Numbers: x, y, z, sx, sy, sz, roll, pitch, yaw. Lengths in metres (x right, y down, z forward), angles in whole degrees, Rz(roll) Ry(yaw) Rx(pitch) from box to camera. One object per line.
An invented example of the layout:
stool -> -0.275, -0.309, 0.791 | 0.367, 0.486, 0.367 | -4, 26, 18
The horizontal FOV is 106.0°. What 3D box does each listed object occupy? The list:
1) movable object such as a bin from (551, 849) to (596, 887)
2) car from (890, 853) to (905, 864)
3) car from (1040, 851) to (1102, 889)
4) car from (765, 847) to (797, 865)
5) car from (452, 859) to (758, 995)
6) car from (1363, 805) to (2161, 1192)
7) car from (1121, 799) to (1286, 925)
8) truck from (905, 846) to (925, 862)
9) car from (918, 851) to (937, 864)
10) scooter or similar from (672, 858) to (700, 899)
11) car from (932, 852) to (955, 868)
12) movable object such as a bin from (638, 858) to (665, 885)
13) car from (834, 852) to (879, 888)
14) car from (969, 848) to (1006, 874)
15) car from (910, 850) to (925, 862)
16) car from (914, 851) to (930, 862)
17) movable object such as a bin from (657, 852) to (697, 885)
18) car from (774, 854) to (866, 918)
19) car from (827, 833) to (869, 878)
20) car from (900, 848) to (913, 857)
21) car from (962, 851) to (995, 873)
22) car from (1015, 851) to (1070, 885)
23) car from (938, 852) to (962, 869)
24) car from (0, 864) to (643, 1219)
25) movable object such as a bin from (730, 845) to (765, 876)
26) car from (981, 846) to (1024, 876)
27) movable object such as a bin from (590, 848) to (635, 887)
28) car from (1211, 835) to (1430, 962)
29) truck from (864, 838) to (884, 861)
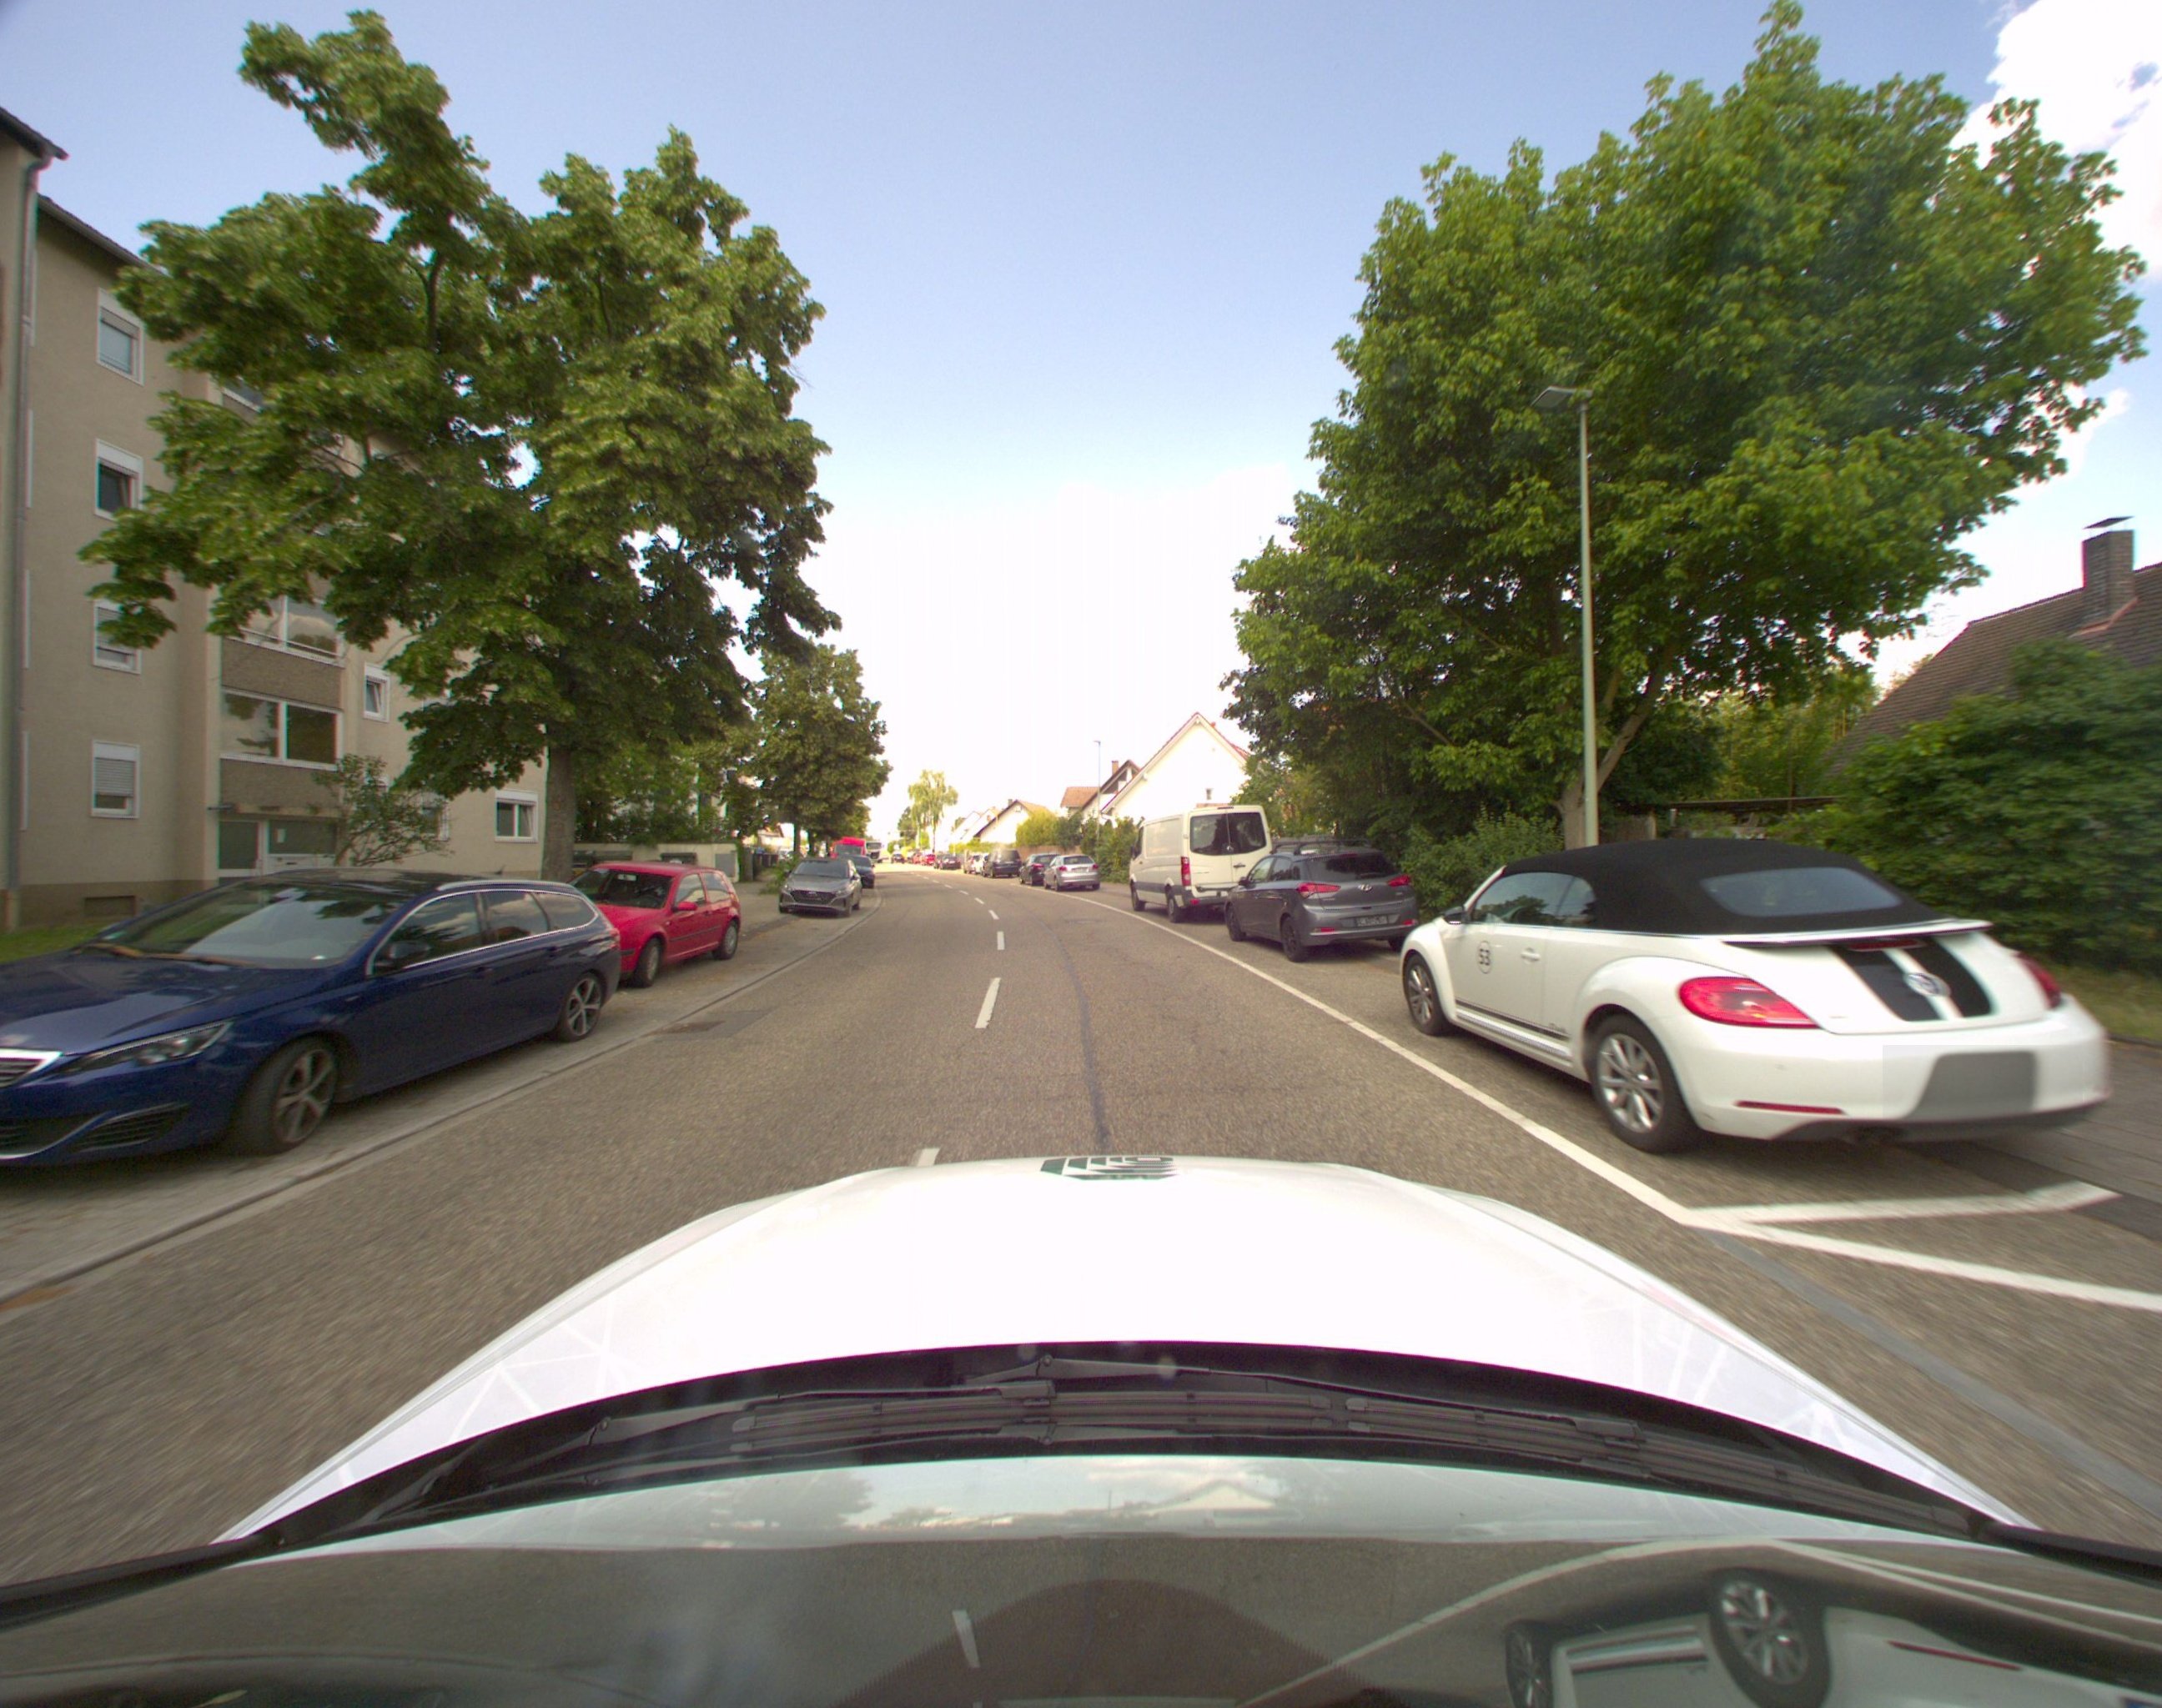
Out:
movable object such as a bin -> -20.587, 0.552, 33.035 | 1.245, 1.437, 0.926 | -1, 4, -13
car -> -25.900, 0.618, 114.738 | 1.799, 1.523, 4.505 | 0, 0, -17
car -> -0.491, 0.600, 33.364 | 1.739, 1.457, 4.346 | 0, 0, -12
car -> -26.835, 0.190, 73.017 | 1.787, 1.457, 4.420 | 4, -1, -10
car -> -6.175, 0.837, 11.230 | 1.832, 1.438, 4.088 | 2, 0, -2
car -> 3.499, 0.560, 5.425 | 1.734, 1.512, 4.458 | 0, 0, 0
car -> 2.562, 0.145, 18.837 | 2.117, 2.441, 5.876 | 0, 0, -9
truck -> -25.332, -0.015, 123.930 | 2.574, 2.260, 6.499 | 0, 0, -16
car -> -18.782, 0.453, 99.586 | 1.798, 1.523, 4.507 | 0, 0, -16
scooter or similar -> -11.647, 0.721, 24.042 | 0.419, 1.165, 1.136 | 1, 0, -11
car -> -13.781, 0.584, 81.365 | 1.798, 1.523, 3.952 | 0, 0, -16
movable object such as a bin -> -17.660, 0.727, 33.515 | 0.623, 1.024, 0.877 | -1, 3, -3
car -> -10.448, 0.694, 37.705 | 1.791, 1.457, 4.409 | 4, -1, -17
car -> -6.456, 0.451, 56.188 | 1.800, 1.748, 3.949 | 0, 0, -18
car -> -22.804, 0.272, 113.498 | 1.798, 1.523, 4.507 | 0, 0, -16
car -> -21.341, 0.331, 109.057 | 1.798, 1.523, 4.507 | 0, 0, -16
movable object such as a bin -> -16.659, 0.592, 33.590 | 1.190, 1.274, 0.877 | -1, 3, -4
car -> -6.927, 0.779, 22.024 | 1.761, 1.489, 4.328 | 2, 0, -10
car -> -14.158, 0.075, 49.791 | 2.066, 2.500, 5.813 | 4, -1, -14
car -> -29.919, -0.180, 139.625 | 1.799, 1.523, 4.505 | 0, 0, -17
car -> -7.623, 0.575, 60.473 | 1.799, 1.523, 3.950 | 0, 0, -17
car -> -1.874, 0.609, 38.585 | 1.740, 1.509, 4.453 | 0, 0, -15
car -> -12.361, 0.584, 76.619 | 1.798, 1.523, 3.952 | 0, 0, -16
car -> -5.165, 0.842, 5.771 | 1.756, 1.489, 4.565 | 2, -1, -3
movable object such as a bin -> -17.069, 0.322, 41.690 | 1.356, 1.504, 1.818 | 0, 0, -13
car -> -4.880, 0.418, 49.964 | 1.799, 1.748, 4.557 | 0, 0, -17
movable object such as a bin -> -18.926, 0.534, 32.926 | 1.198, 1.437, 1.365 | -1, 4, -15
car -> 3.367, 0.555, 12.332 | 1.716, 1.585, 4.114 | 0, 0, -7
truck -> -33.455, -0.648, 131.411 | 2.868, 3.512, 12.290 | 0, 0, -15
